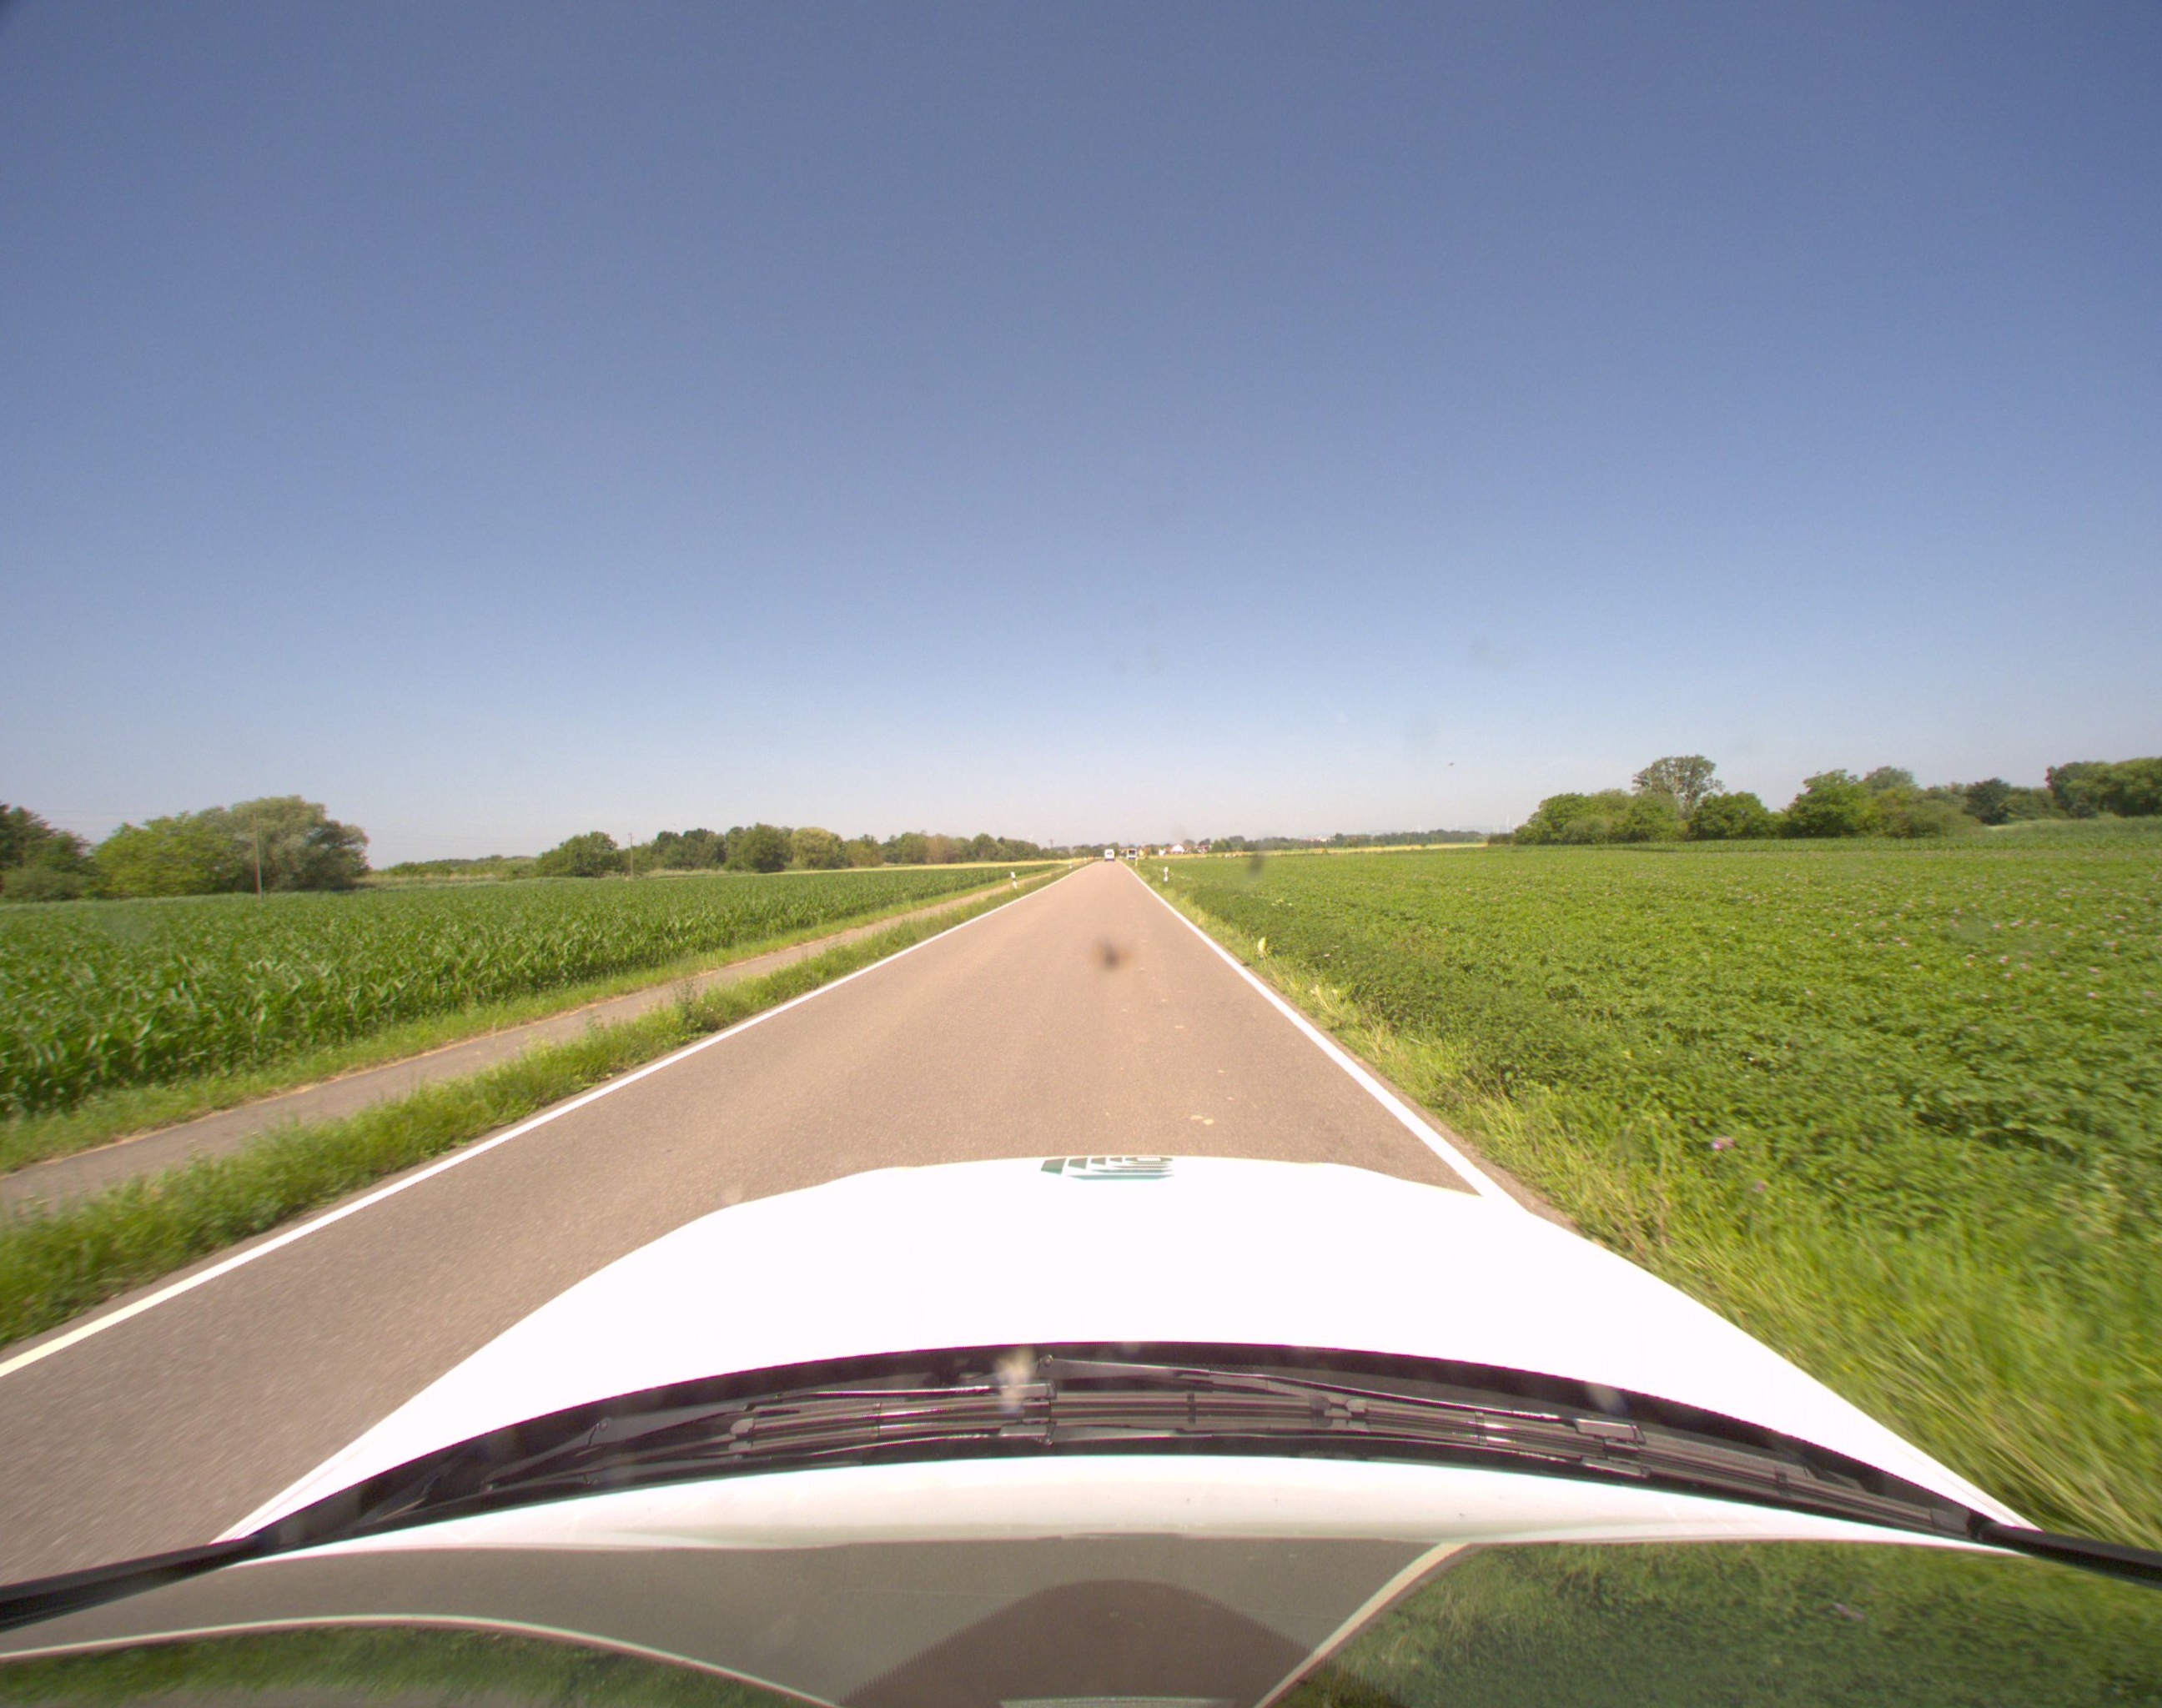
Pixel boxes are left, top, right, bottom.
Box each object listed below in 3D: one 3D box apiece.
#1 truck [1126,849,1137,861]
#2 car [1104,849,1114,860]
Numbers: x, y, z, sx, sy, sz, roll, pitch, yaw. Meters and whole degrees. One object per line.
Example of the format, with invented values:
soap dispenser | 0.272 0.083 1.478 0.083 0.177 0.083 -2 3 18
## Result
truck | 12.997 0.292 209.018 2.328 2.942 7.008 1 0 0
car | 5.992 0.146 174.768 2.099 2.304 5.498 0 0 2
